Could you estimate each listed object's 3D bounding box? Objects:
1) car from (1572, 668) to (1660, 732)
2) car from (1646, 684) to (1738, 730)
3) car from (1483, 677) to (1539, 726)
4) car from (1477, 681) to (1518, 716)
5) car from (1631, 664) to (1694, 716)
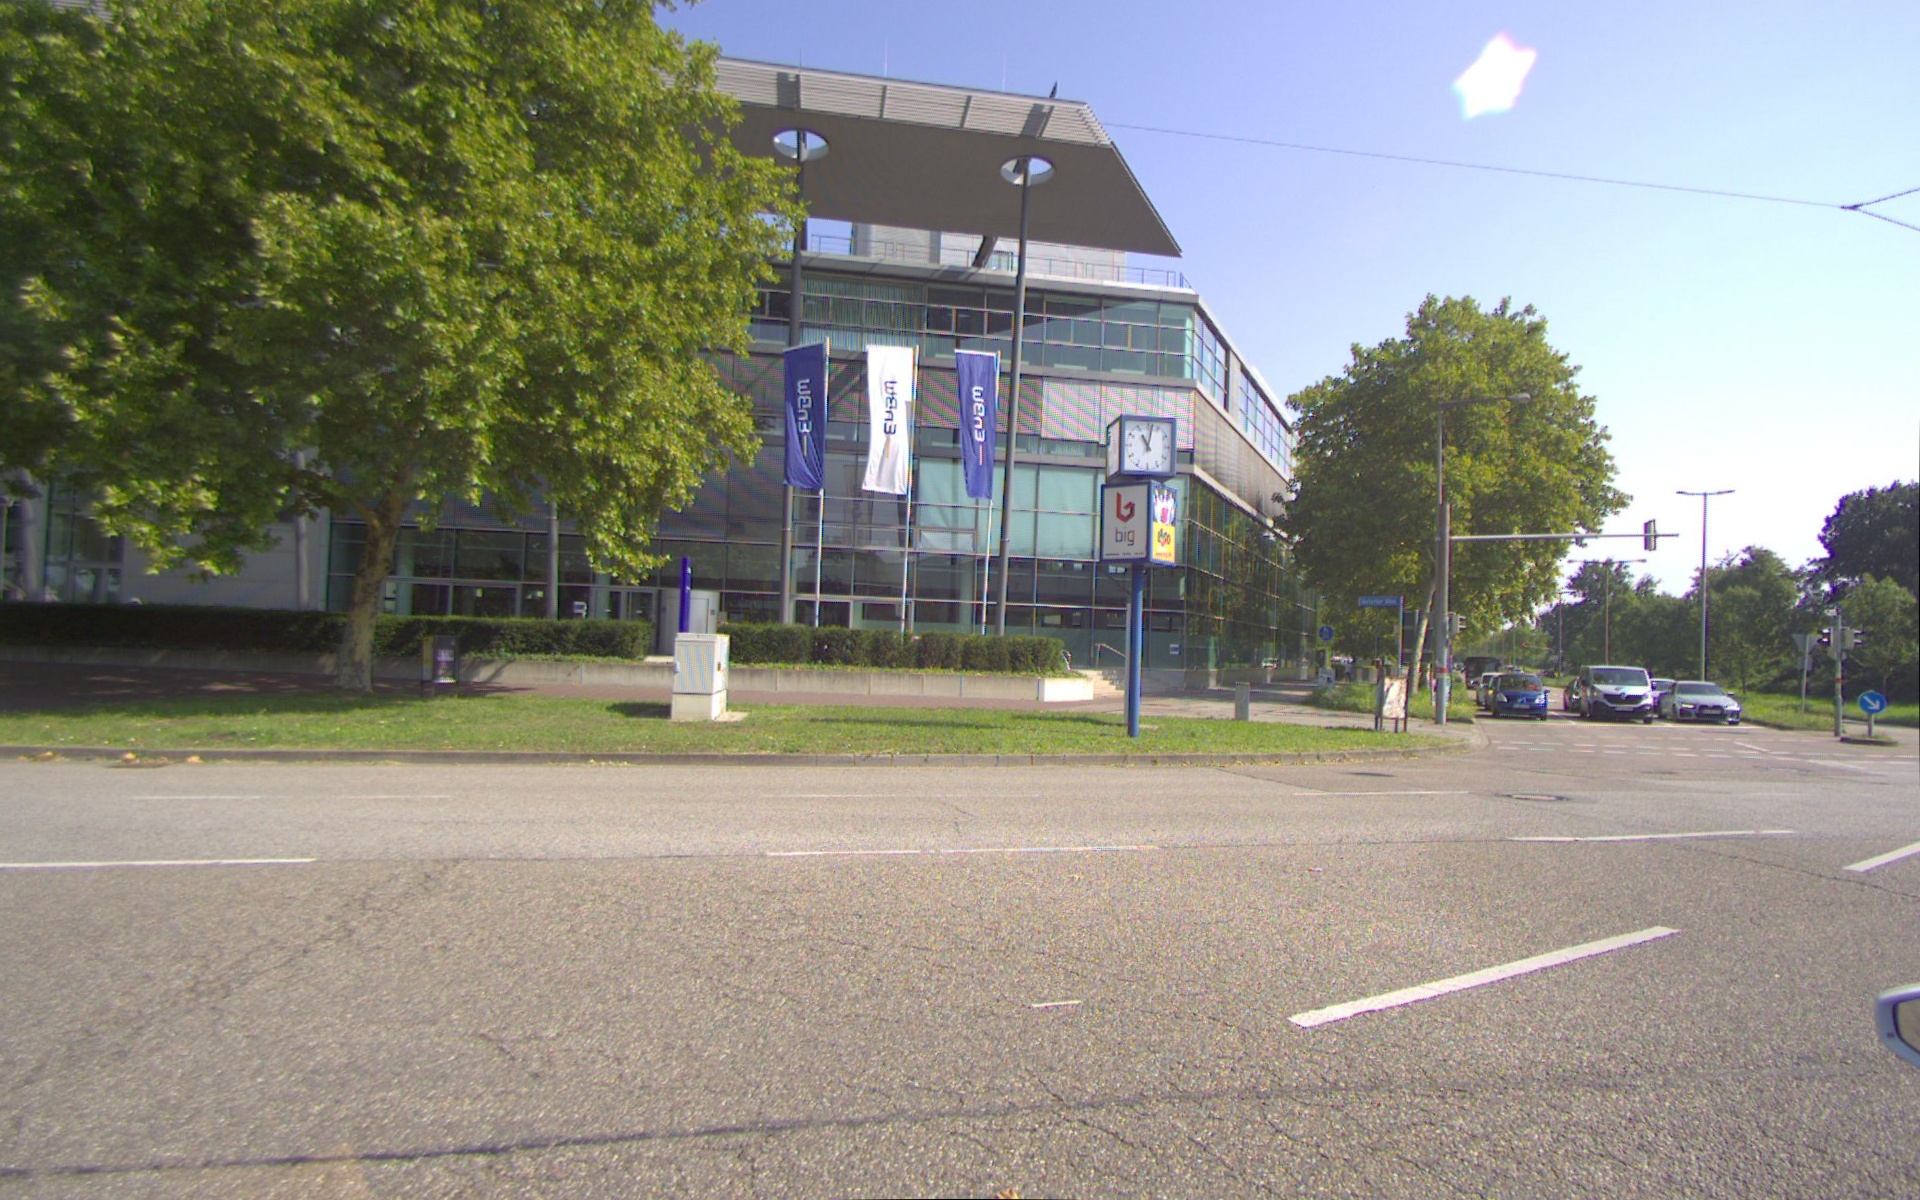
[{"bbox_3d":[23.532,3.513,36.226,1.897,1.983,5.210,1,-2,25],"label":"car"},{"bbox_3d":[26.334,3.816,36.311,1.807,1.461,4.604,-1,-4,25],"label":"car"},{"bbox_3d":[19.620,3.574,35.890,1.642,1.555,3.726,-1,-3,27],"label":"car"},{"bbox_3d":[25.503,4.632,47.738,1.642,1.555,3.727,-1,-5,27],"label":"car"},{"bbox_3d":[30.012,3.801,43.010,1.589,1.556,4.095,-1,4,26],"label":"car"}]
